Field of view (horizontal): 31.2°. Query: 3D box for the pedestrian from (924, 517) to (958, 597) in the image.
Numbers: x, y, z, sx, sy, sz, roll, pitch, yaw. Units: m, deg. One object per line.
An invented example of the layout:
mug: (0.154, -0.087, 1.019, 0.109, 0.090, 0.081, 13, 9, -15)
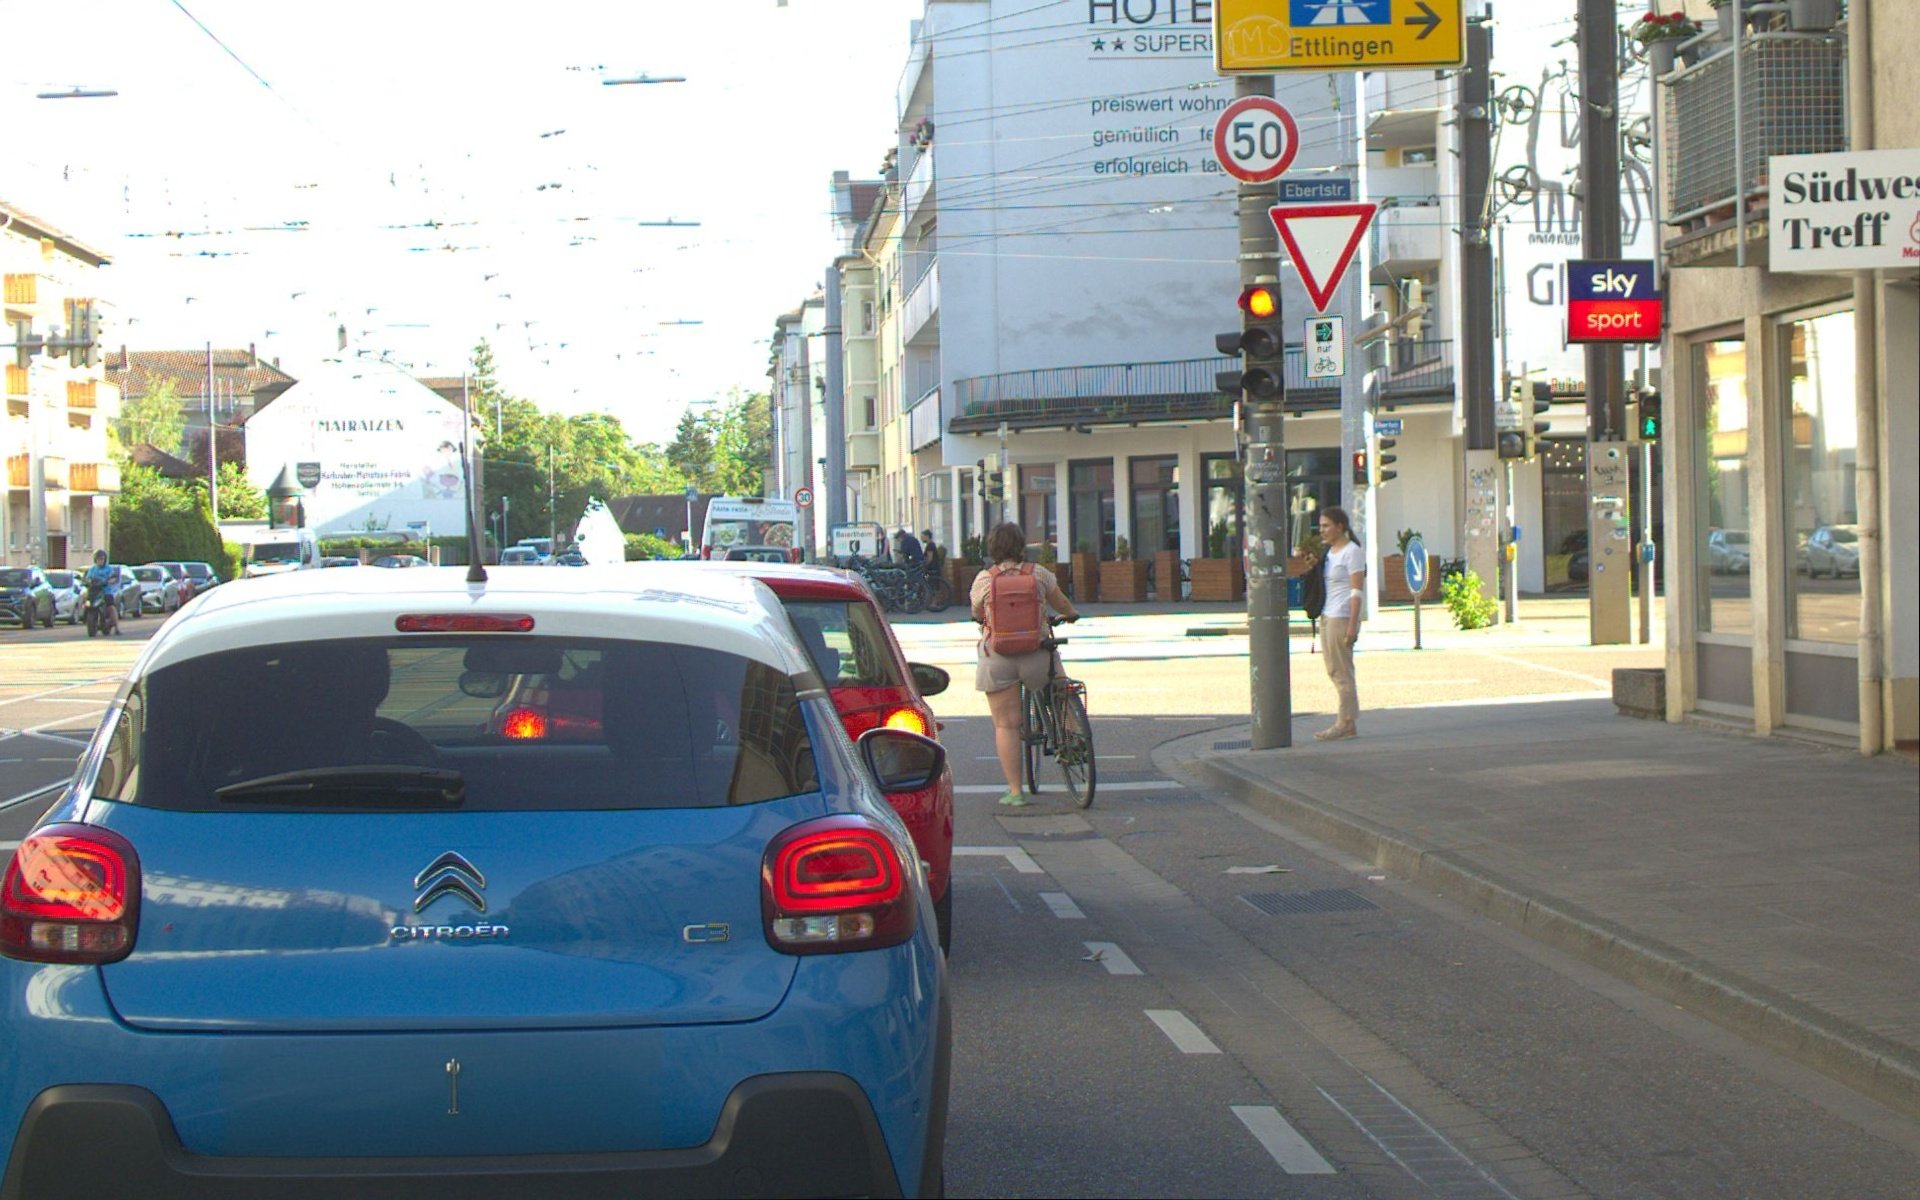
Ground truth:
pedestrian: (-0.390, -0.887, 71.101, 0.553, 1.642, 0.538, -2, 1, -16)

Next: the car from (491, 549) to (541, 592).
car: (-22.044, -1.501, 170.833, 2.338, 2.032, 5.051, -1, 1, -6)

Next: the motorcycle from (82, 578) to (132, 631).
motorcycle: (-16.690, 0.074, 67.278, 0.751, 0.973, 2.098, -1, 1, -9)

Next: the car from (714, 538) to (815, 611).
car: (-3.878, -0.516, 67.797, 1.786, 1.354, 3.915, -1, 1, -6)

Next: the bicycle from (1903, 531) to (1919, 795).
bicycle: (4.919, 0.312, 15.745, 0.640, 1.260, 1.911, -1, 1, -1)

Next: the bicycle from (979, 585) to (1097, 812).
bicycle: (0.453, 0.559, 20.634, 0.613, 1.260, 1.911, -1, 1, -1)

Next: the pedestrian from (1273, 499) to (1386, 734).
pedestrian: (2.613, 0.107, 24.367, 0.751, 1.629, 0.740, -1, 1, 6)

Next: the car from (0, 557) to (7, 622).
car: (-23.317, -0.191, 79.217, 1.950, 1.514, 4.001, -1, 1, -6)

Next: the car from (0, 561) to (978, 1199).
car: (-0.953, 0.670, 7.367, 1.680, 1.457, 4.001, 0, 1, -4)

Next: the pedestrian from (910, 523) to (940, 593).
pedestrian: (-0.716, -0.850, 69.999, 0.467, 1.415, 0.527, -2, 1, -13)

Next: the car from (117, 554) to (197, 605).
car: (-25.356, -0.670, 108.649, 1.950, 1.514, 4.001, -1, 1, -6)

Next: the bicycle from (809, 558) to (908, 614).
bicycle: (-2.022, -0.275, 68.305, 1.904, 1.061, 0.642, -1, 1, -7)

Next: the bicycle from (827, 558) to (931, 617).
bicycle: (-1.554, -0.244, 65.807, 1.904, 1.061, 0.642, -1, 1, -7)

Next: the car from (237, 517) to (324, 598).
car: (-23.659, -1.502, 119.927, 2.493, 2.703, 5.839, -1, 1, -7)

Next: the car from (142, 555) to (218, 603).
car: (-26.066, -0.719, 114.991, 1.950, 1.514, 4.001, -1, 1, -6)

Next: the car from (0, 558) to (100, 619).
car: (-24.303, -0.333, 91.939, 1.950, 1.514, 4.001, -1, 1, -6)

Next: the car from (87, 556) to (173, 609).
car: (-24.923, -0.540, 103.370, 1.950, 1.514, 4.001, -1, 1, -6)

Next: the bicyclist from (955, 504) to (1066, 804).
bicyclist: (0.295, 0.303, 20.592, 0.600, 1.740, 1.084, -1, 1, -1)

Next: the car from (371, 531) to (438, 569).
car: (-24.556, -2.210, 151.873, 2.004, 1.622, 5.054, -2, 1, -20)

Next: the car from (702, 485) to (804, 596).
car: (-4.429, -1.278, 73.233, 2.079, 2.262, 5.652, 0, 1, -4)

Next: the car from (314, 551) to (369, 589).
car: (-25.974, -1.279, 144.561, 1.950, 1.514, 4.001, -1, 1, -6)

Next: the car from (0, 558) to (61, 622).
car: (-23.782, -0.265, 85.881, 1.950, 1.514, 4.001, -1, 1, -6)

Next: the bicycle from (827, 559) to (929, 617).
bicycle: (-1.603, -0.238, 67.113, 1.904, 1.061, 0.642, -1, 1, -7)

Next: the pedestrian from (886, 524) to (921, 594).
pedestrian: (-1.149, -0.847, 70.250, 0.525, 1.415, 0.546, -1, 1, 20)

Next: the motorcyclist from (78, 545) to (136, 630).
motorcyclist: (-16.671, -0.251, 67.205, 0.991, 1.625, 0.739, -1, 1, -9)

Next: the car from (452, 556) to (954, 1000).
car: (-1.001, 0.578, 13.577, 1.680, 1.457, 4.001, 0, 1, -4)
